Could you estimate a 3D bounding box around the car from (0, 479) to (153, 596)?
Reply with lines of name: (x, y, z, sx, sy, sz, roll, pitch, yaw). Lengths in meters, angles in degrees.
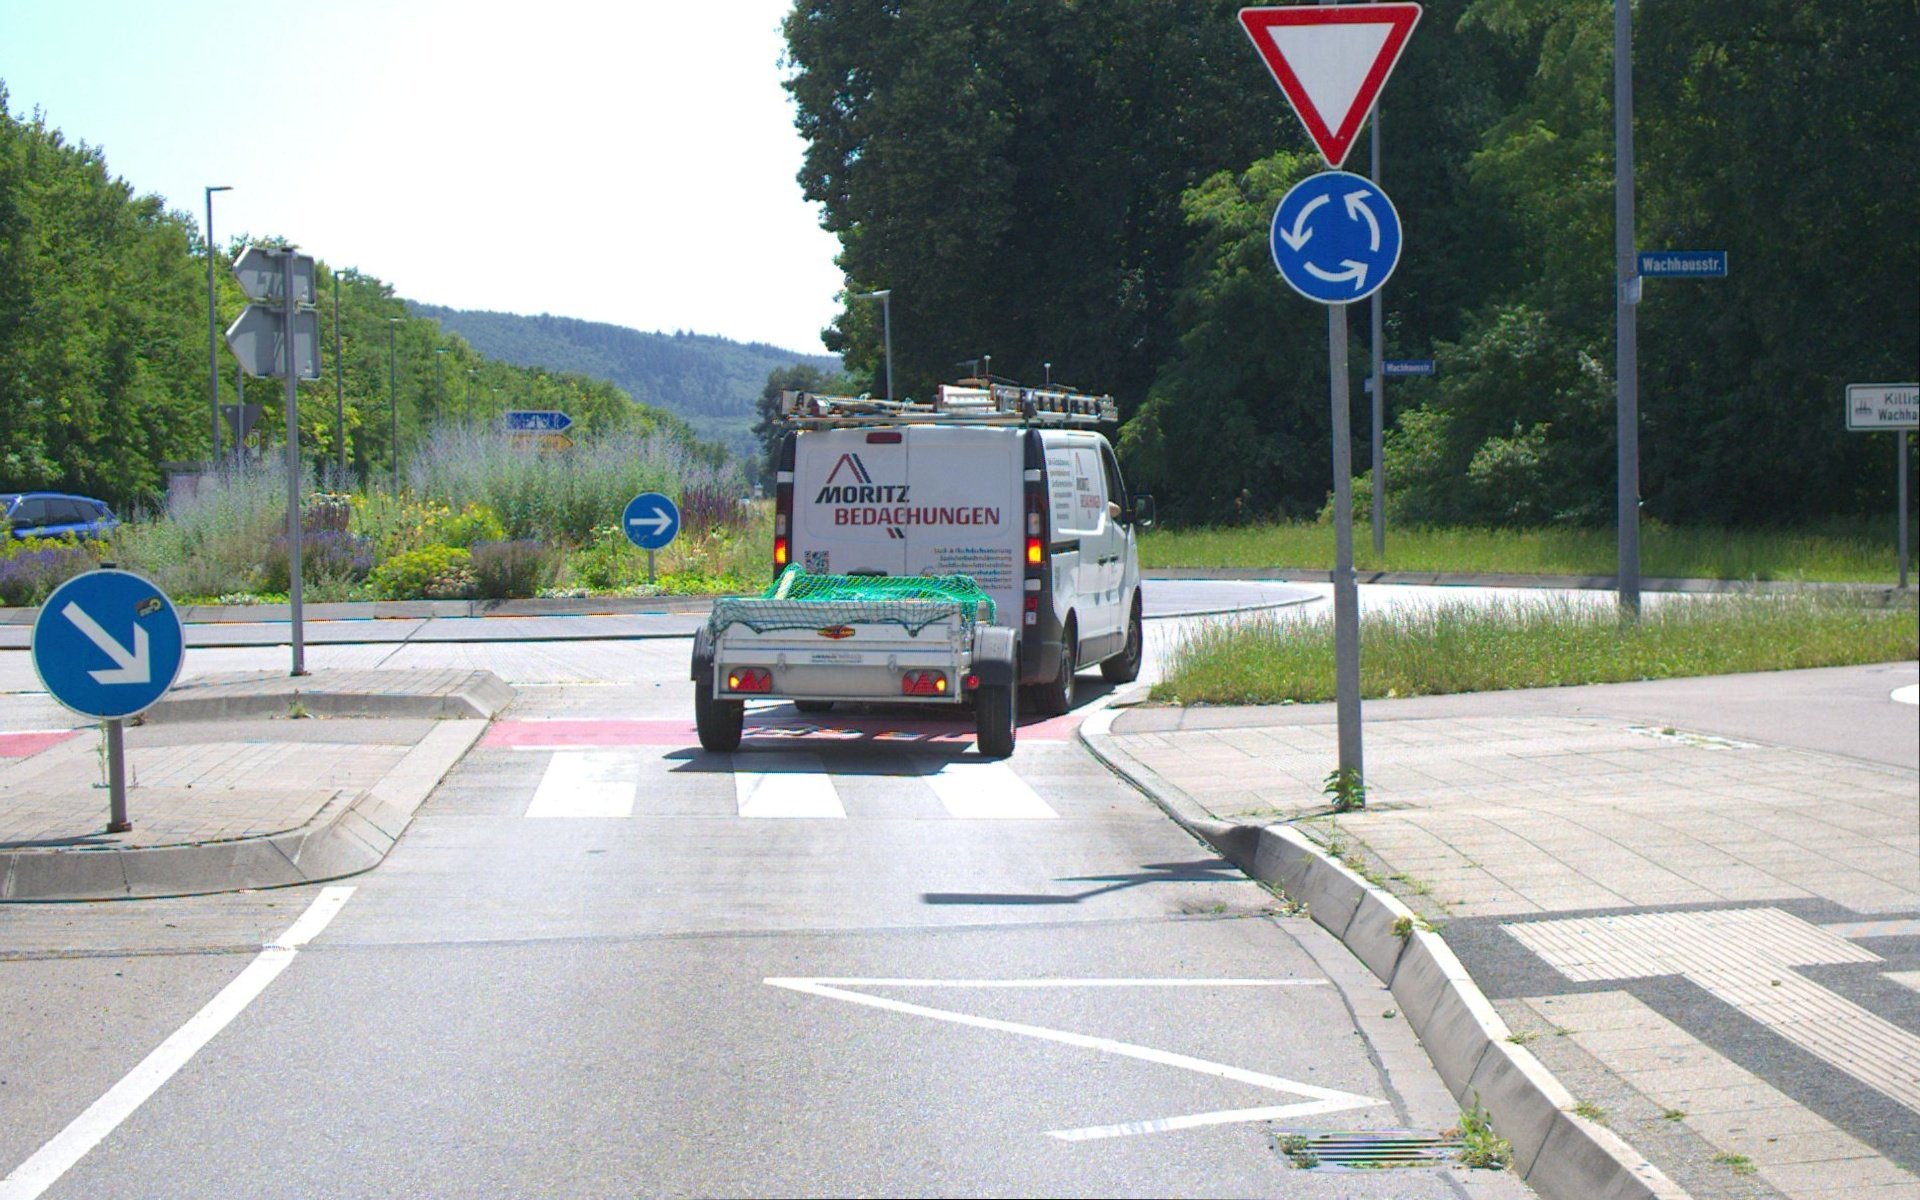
car: (-14.276, -0.896, 50.490, 1.998, 1.590, 4.313, 1, 4, 41)

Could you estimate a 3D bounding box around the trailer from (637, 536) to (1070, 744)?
trailer: (-0.528, 0.181, 20.149, 2.122, 1.093, 3.354, 0, 1, 6)

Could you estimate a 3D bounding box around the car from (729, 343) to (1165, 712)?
car: (0.053, -0.511, 24.159, 2.167, 2.308, 4.979, 0, 1, 11)
